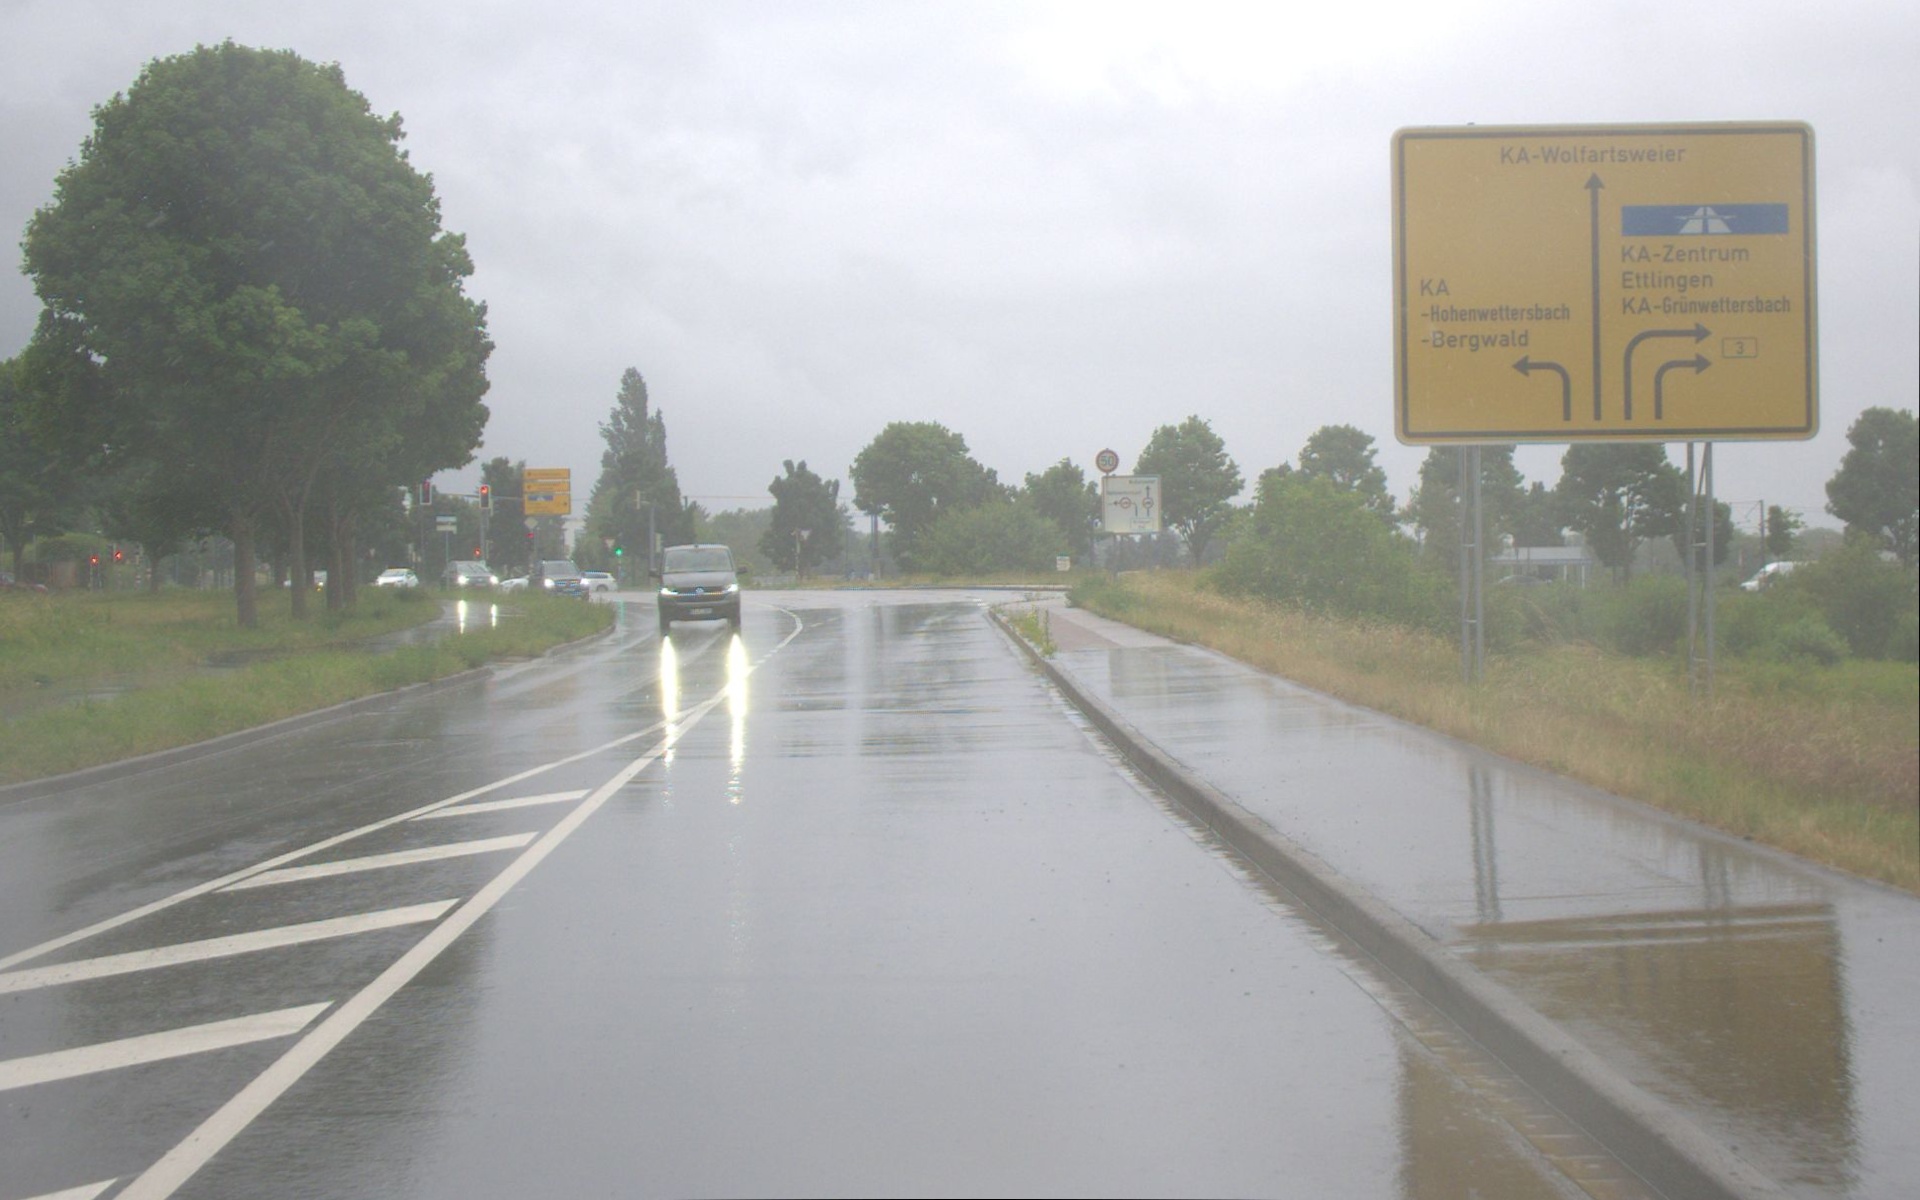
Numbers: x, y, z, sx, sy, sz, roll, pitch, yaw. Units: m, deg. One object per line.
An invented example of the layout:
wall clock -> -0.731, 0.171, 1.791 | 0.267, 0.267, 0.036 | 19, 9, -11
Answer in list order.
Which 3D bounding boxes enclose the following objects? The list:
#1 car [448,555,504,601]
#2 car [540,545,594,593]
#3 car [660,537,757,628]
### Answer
car -> -21.957, -1.012, 155.831 | 1.993, 2.007, 4.001 | 1, 0, -15
car -> -15.376, -1.208, 134.356 | 1.905, 1.715, 4.001 | -4, 1, -8
car -> -5.871, -0.430, 80.674 | 1.993, 1.966, 4.957 | -3, 1, -2
